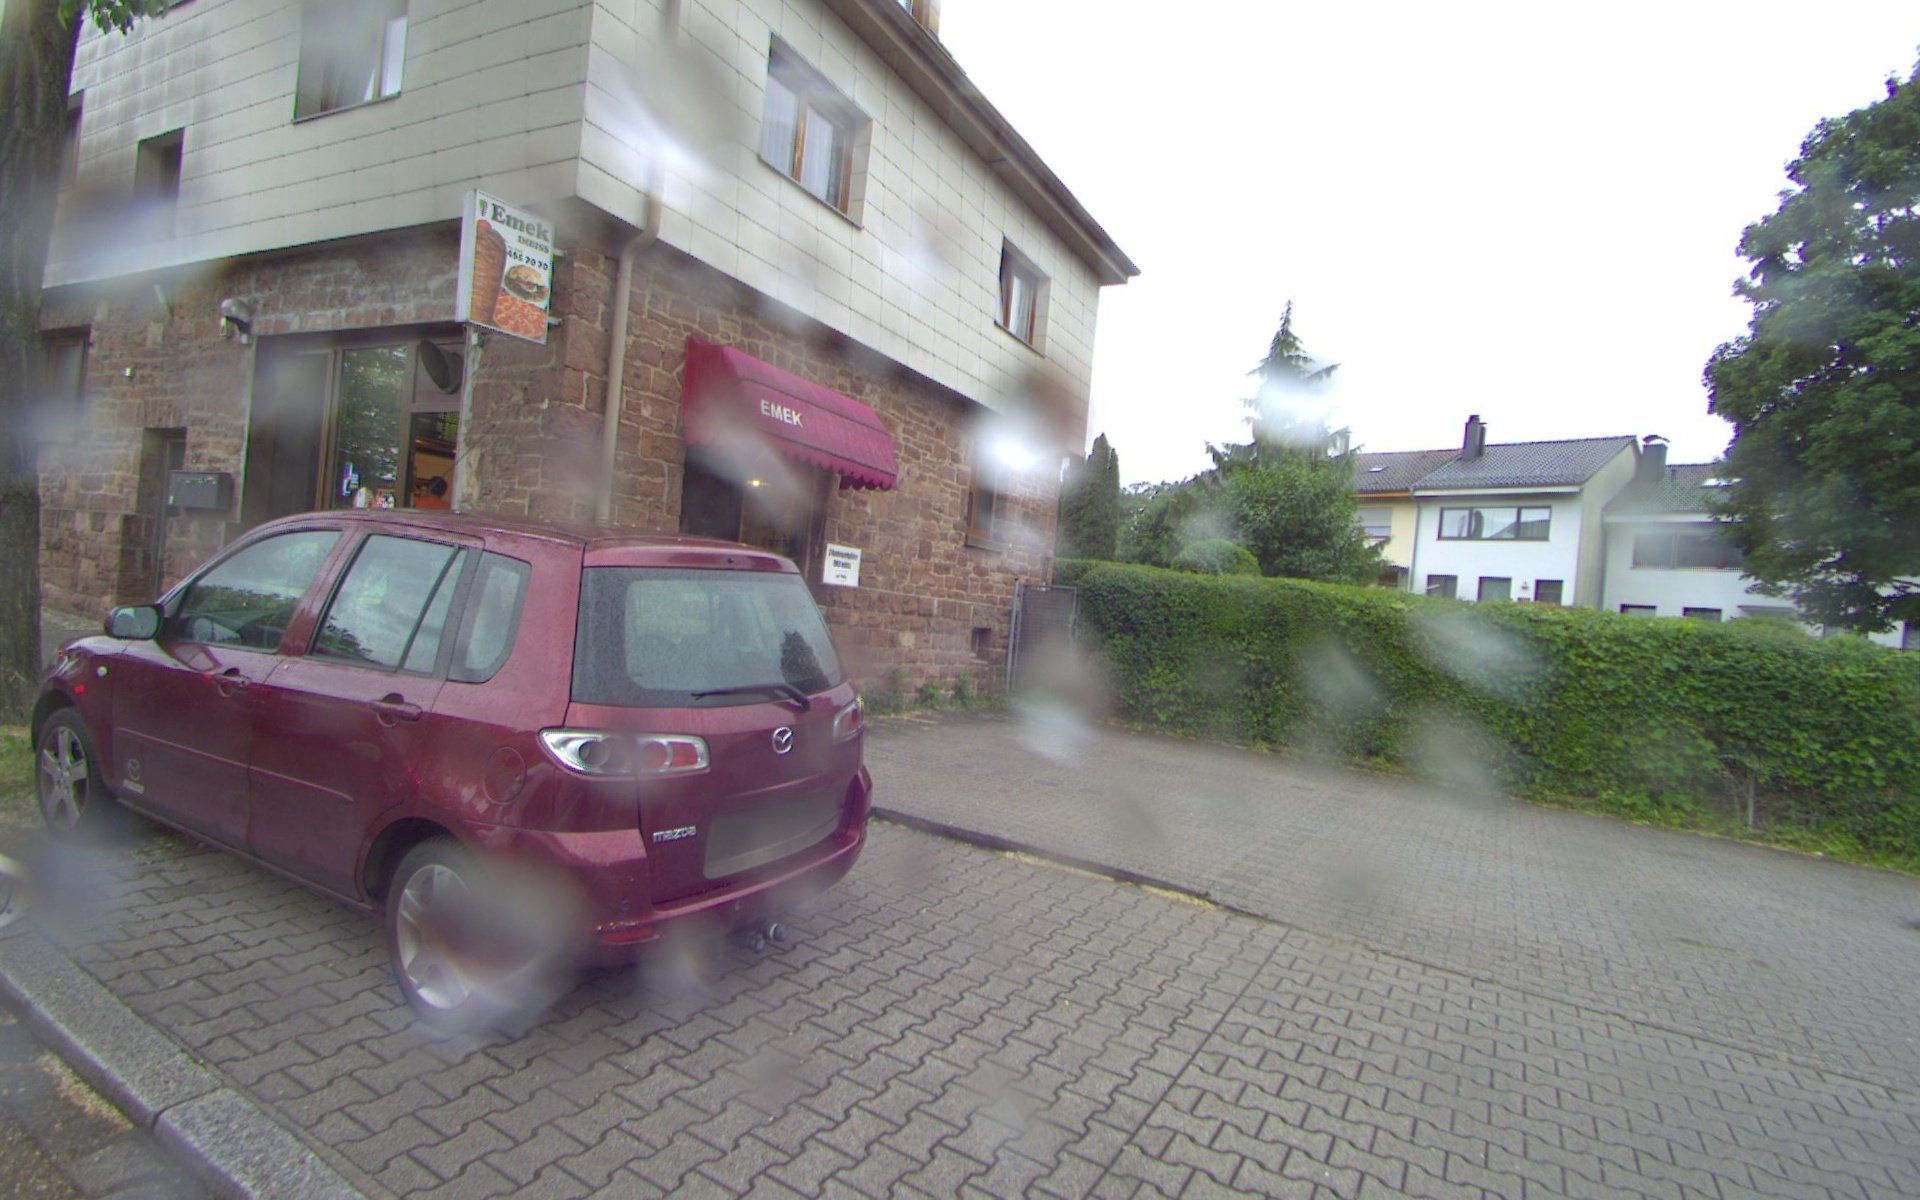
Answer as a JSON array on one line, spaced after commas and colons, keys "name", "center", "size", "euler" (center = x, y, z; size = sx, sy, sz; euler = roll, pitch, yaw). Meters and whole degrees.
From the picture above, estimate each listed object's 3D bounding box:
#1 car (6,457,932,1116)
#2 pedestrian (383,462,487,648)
[{"name": "car", "center": [-2.101, 0.367, 4.075], "size": [3.565, 1.511, 1.584], "euler": [8, 3, 30]}, {"name": "pedestrian", "center": [-5.548, -0.459, 10.641], "size": [0.475, 1.862, 0.638], "euler": [7, 0, 31]}]
